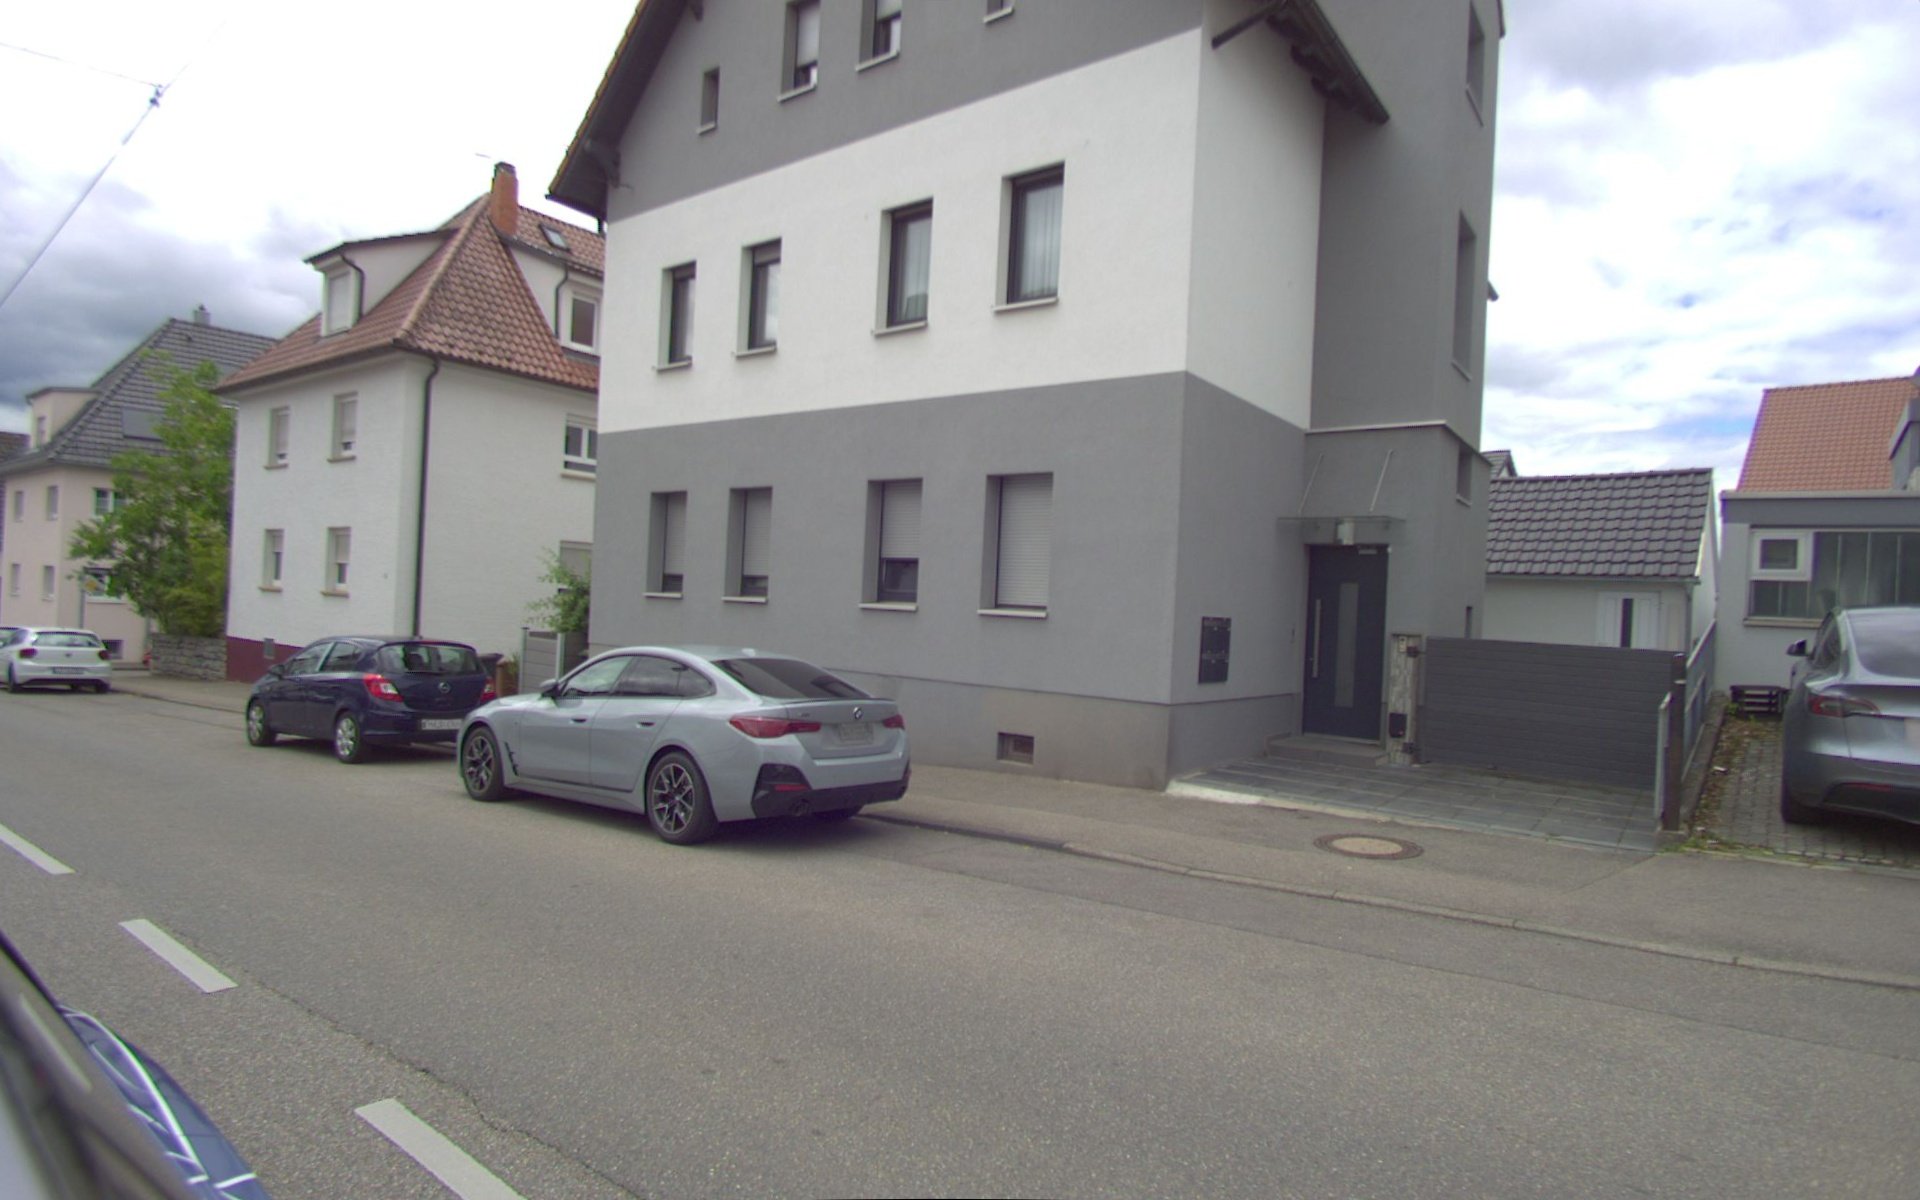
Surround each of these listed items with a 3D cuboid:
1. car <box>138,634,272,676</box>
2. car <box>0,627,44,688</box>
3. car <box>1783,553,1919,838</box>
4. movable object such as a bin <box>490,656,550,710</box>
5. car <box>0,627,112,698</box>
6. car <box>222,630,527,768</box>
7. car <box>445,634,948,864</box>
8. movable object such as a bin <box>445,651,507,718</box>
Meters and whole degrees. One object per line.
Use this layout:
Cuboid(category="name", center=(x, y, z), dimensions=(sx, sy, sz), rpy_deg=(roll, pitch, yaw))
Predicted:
Cuboid(category="car", center=(-27.583, 1.970, 37.052), dimensions=(1.707, 1.421, 3.684), rpy_deg=(-1, -2, 42))
Cuboid(category="car", center=(-24.862, 1.419, 25.836), dimensions=(3.771, 1.458, 1.633), rpy_deg=(-1, -4, 40))
Cuboid(category="car", center=(7.791, 0.717, 7.978), dimensions=(1.998, 1.870, 3.947), rpy_deg=(-1, -3, 39))
Cuboid(category="movable object such as a bin", center=(-7.756, 1.452, 17.836), dimensions=(0.758, 0.898, 0.671), rpy_deg=(-4, -3, 37))
Cuboid(category="car", center=(-20.822, 1.362, 22.926), dimensions=(3.806, 1.458, 1.634), rpy_deg=(-1, -4, 38))
Cuboid(category="car", center=(-7.523, 1.171, 12.908), dimensions=(3.991, 1.456, 1.821), rpy_deg=(-1, -4, 35))
Cuboid(category="car", center=(-2.421, 1.076, 8.710), dimensions=(4.461, 1.456, 1.820), rpy_deg=(-1, -4, 38))
Cuboid(category="movable object such as a bin", center=(-8.190, 1.407, 17.129), dimensions=(0.758, 1.053, 0.671), rpy_deg=(-1, 0, 38))
